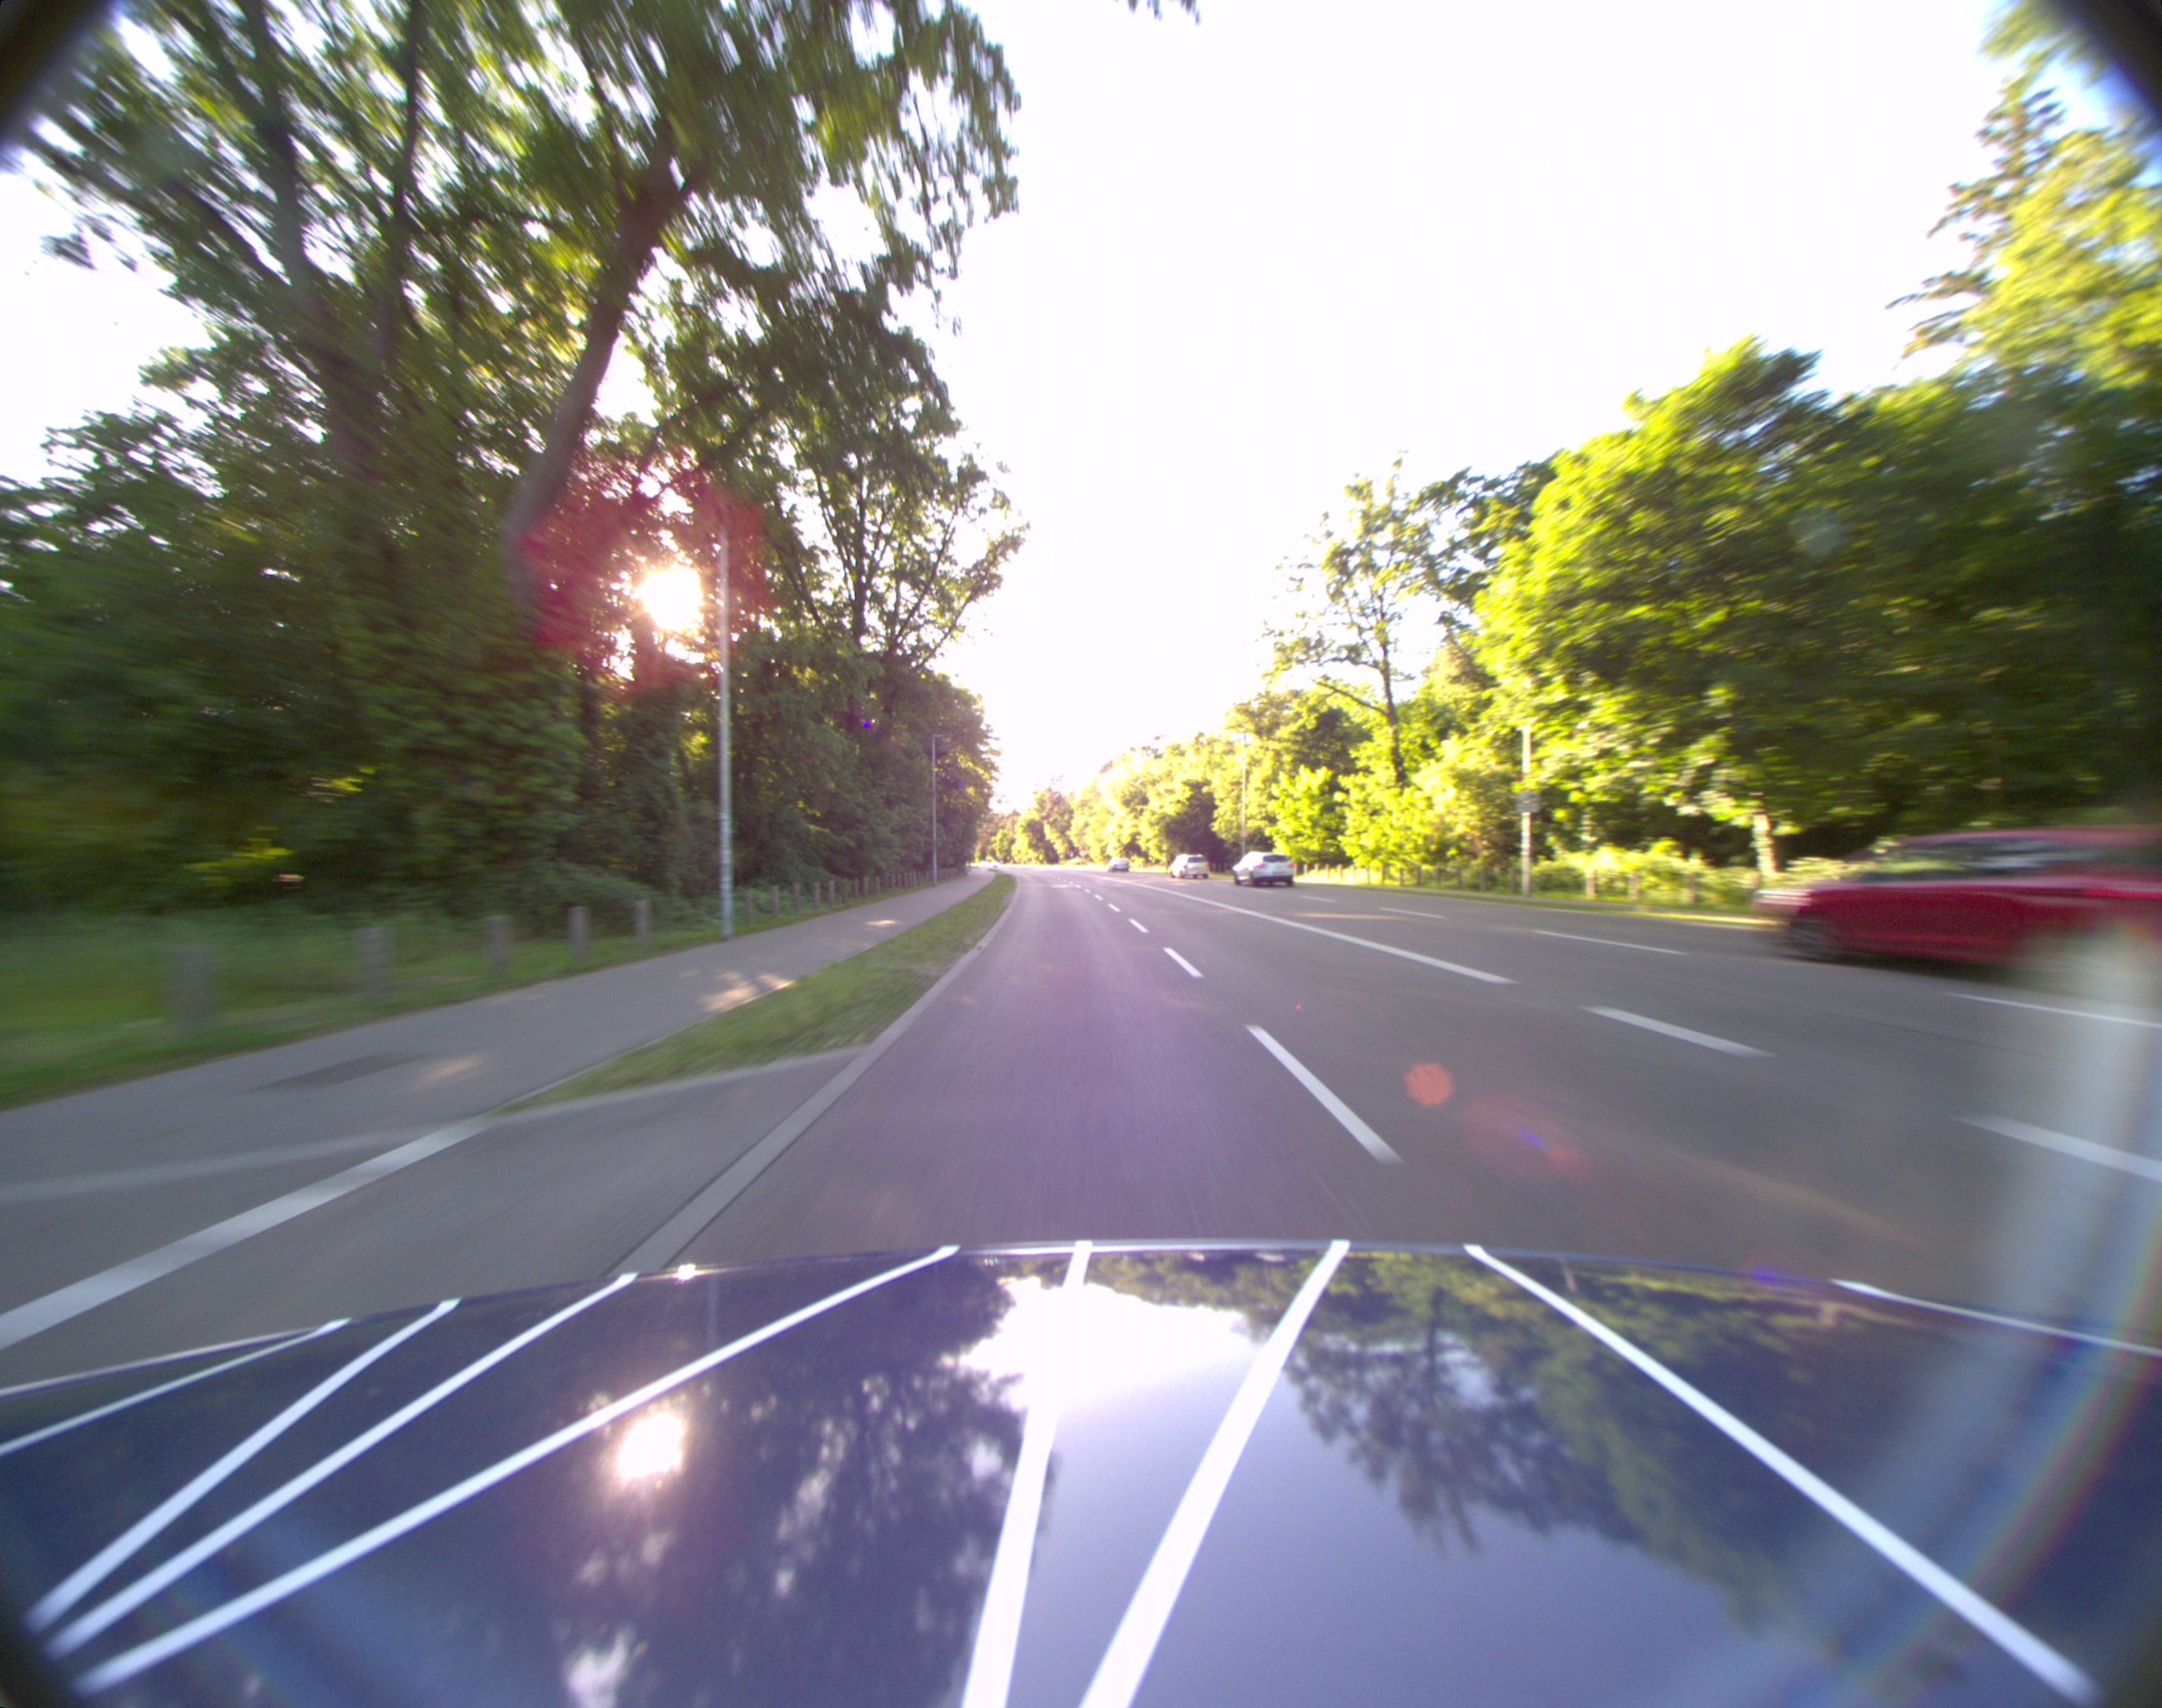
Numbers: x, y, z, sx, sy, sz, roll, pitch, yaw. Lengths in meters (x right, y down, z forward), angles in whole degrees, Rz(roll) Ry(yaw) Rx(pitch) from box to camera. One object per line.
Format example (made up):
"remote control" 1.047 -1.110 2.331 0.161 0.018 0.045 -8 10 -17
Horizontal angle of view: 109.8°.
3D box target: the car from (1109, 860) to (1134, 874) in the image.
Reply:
"car" 4.139 1.348 78.611 1.785 1.400 4.163 -1 -1 -7

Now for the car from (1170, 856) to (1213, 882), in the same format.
"car" 6.833 0.877 47.476 1.785 1.455 4.273 -2 0 -4

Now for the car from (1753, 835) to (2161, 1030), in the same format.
"car" 9.170 0.602 7.482 1.667 1.509 3.806 -1 0 -2

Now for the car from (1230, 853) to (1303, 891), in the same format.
"car" 8.013 0.776 33.218 1.788 1.513 4.397 -2 -1 -4
